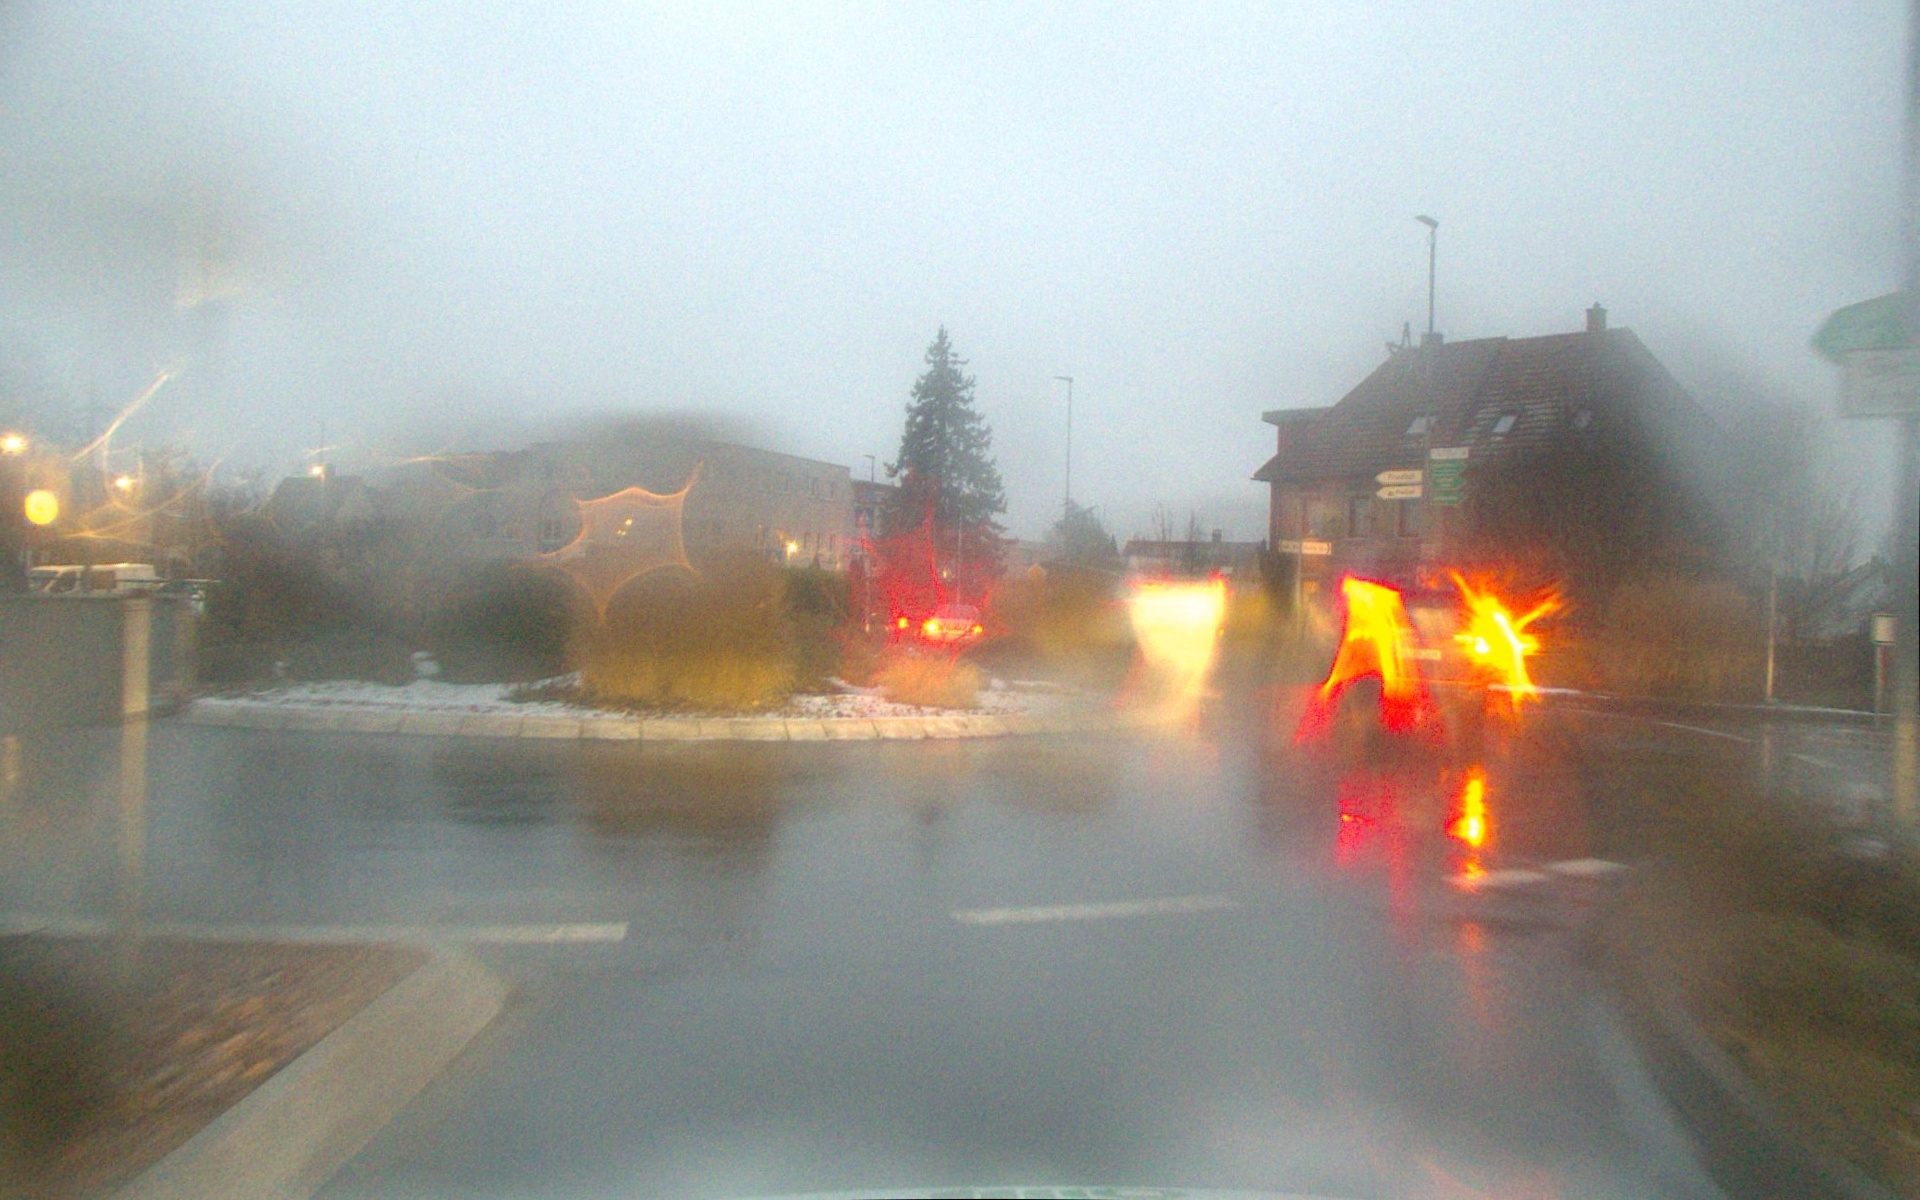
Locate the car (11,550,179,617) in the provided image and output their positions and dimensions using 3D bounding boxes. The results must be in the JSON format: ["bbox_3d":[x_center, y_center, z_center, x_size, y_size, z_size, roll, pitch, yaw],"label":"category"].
[{"bbox_3d":[-32.455,-0.570,62.232,1.986,2.171,5.419,3,-1,25],"label":"car"}]

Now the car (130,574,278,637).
[{"bbox_3d":[-22.374,0.152,48.915,4.194,1.588,2.058,3,-1,35],"label":"car"}]

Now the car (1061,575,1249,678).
[{"bbox_3d":[3.551,0.443,31.122,2.126,1.719,4.558,1,1,-12],"label":"car"}]

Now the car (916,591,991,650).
[{"bbox_3d":[-0.236,0.631,48.938,1.846,1.643,4.566,1,-2,-5],"label":"car"}]

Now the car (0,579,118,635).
[{"bbox_3d":[-25.068,0.161,45.074,3.912,1.334,1.838,3,-1,29],"label":"car"}]

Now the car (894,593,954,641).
[{"bbox_3d":[-1.322,0.636,58.714,1.846,1.575,4.566,1,-2,-5],"label":"car"}]

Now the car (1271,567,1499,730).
[{"bbox_3d":[5.095,0.529,20.382,1.904,1.748,4.001,2,0,3],"label":"car"}]
